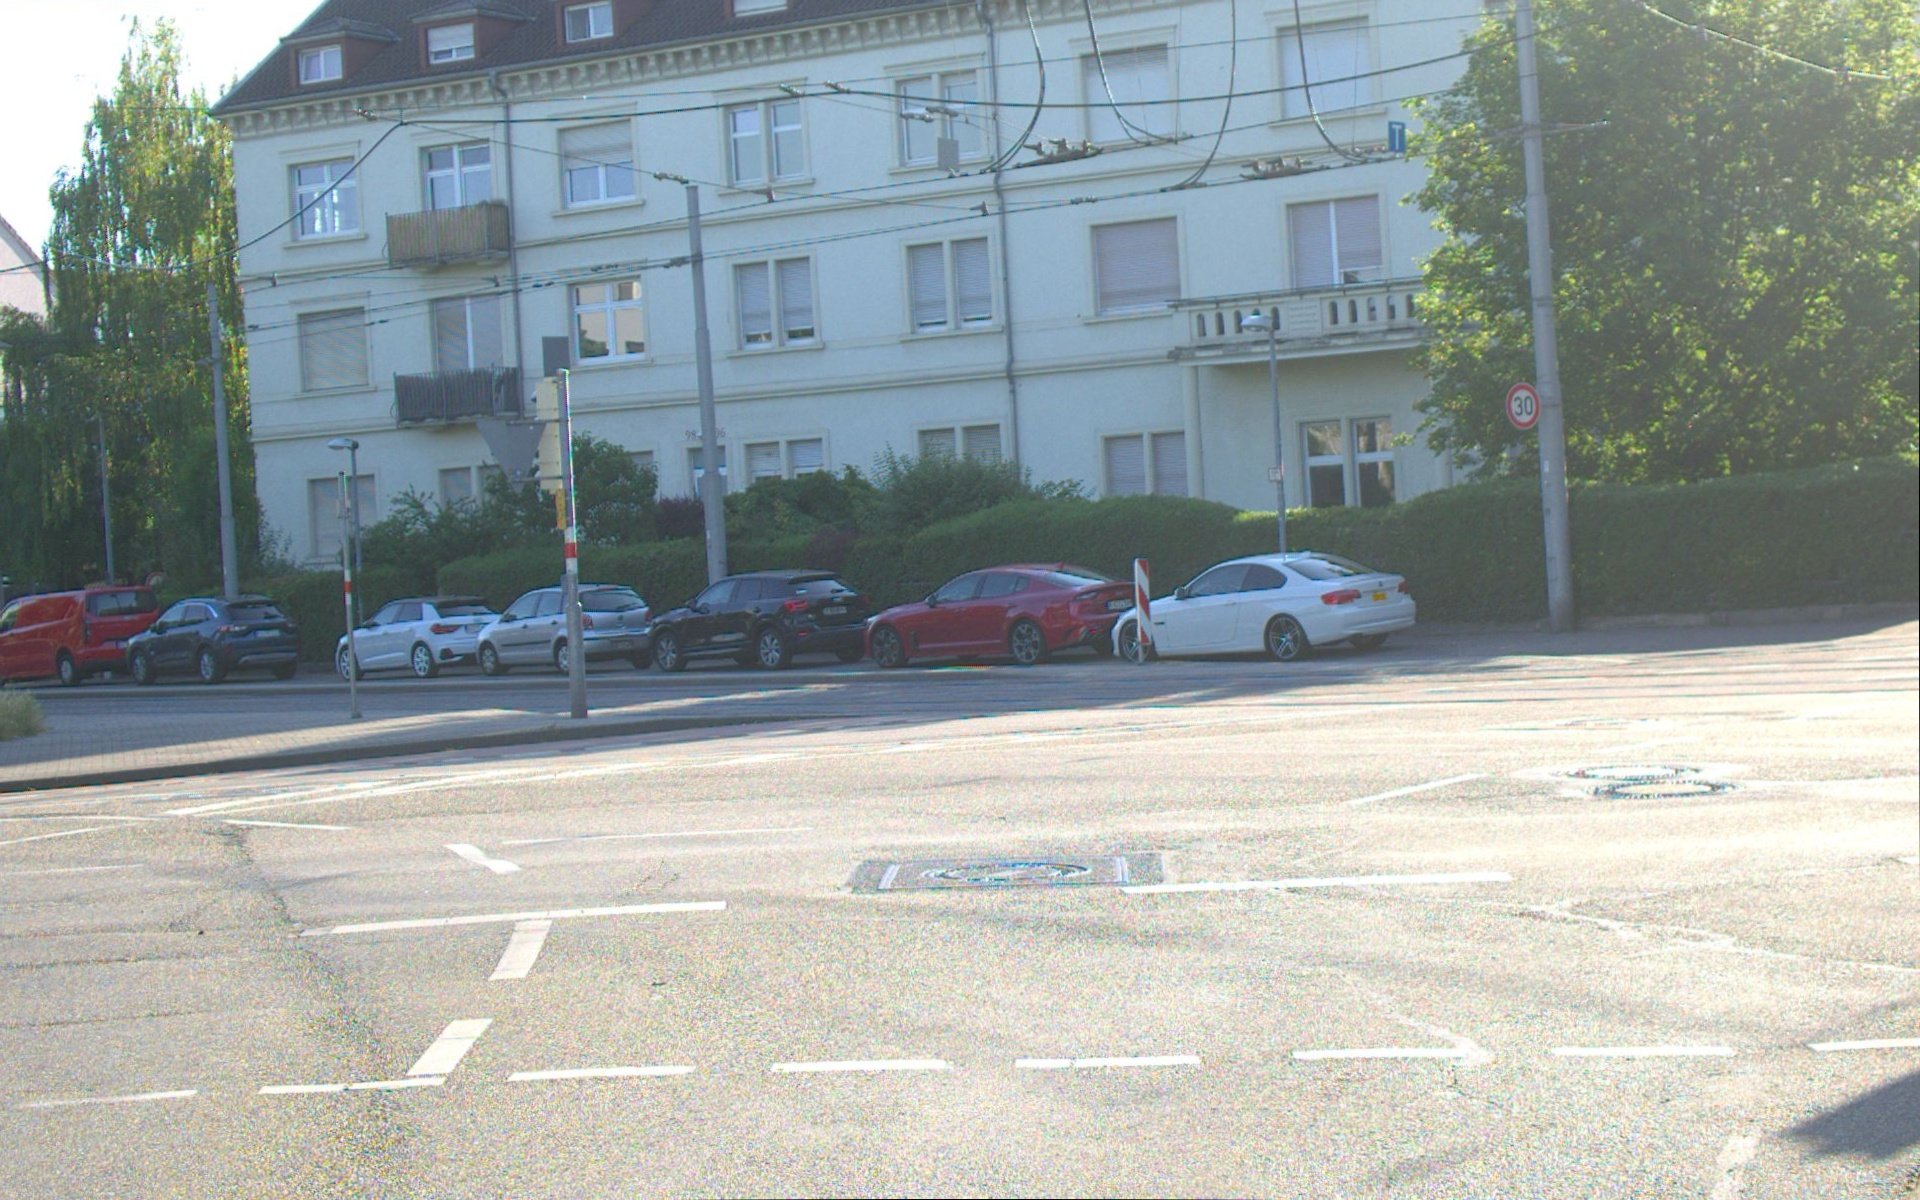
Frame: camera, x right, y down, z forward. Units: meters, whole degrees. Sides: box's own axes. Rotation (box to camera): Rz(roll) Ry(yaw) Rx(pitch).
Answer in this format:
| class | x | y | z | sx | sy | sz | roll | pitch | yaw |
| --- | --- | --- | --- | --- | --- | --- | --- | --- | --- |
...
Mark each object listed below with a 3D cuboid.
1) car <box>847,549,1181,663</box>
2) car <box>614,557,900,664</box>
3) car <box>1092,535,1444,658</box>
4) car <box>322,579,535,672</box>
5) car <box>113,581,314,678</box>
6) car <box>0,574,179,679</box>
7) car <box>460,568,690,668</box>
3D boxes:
| class | x | y | z | sx | sy | sz | roll | pitch | yaw |
| --- | --- | --- | --- | --- | --- | --- | --- | --- | --- |
| car | 0.744 | 0.101 | 50.119 | 4.702 | 1.371 | 1.982 | -2 | 3 | 44 |
| car | -3.267 | 0.188 | 54.629 | 1.982 | 1.442 | 4.703 | -7 | 3 | -41 |
| car | 4.084 | -0.025 | 46.123 | 1.926 | 1.371 | 4.494 | -7 | 3 | -42 |
| car | -9.516 | 0.465 | 61.370 | 1.840 | 1.442 | 3.957 | -7 | 3 | -41 |
| car | -14.619 | 0.597 | 67.207 | 1.840 | 1.662 | 4.368 | -7 | 3 | -41 |
| car | -18.655 | 0.579 | 72.247 | 2.051 | 1.955 | 5.148 | -7 | 3 | -41 |
| car | -6.503 | 0.322 | 57.876 | 1.982 | 1.442 | 3.717 | -7 | 3 | -41 |
